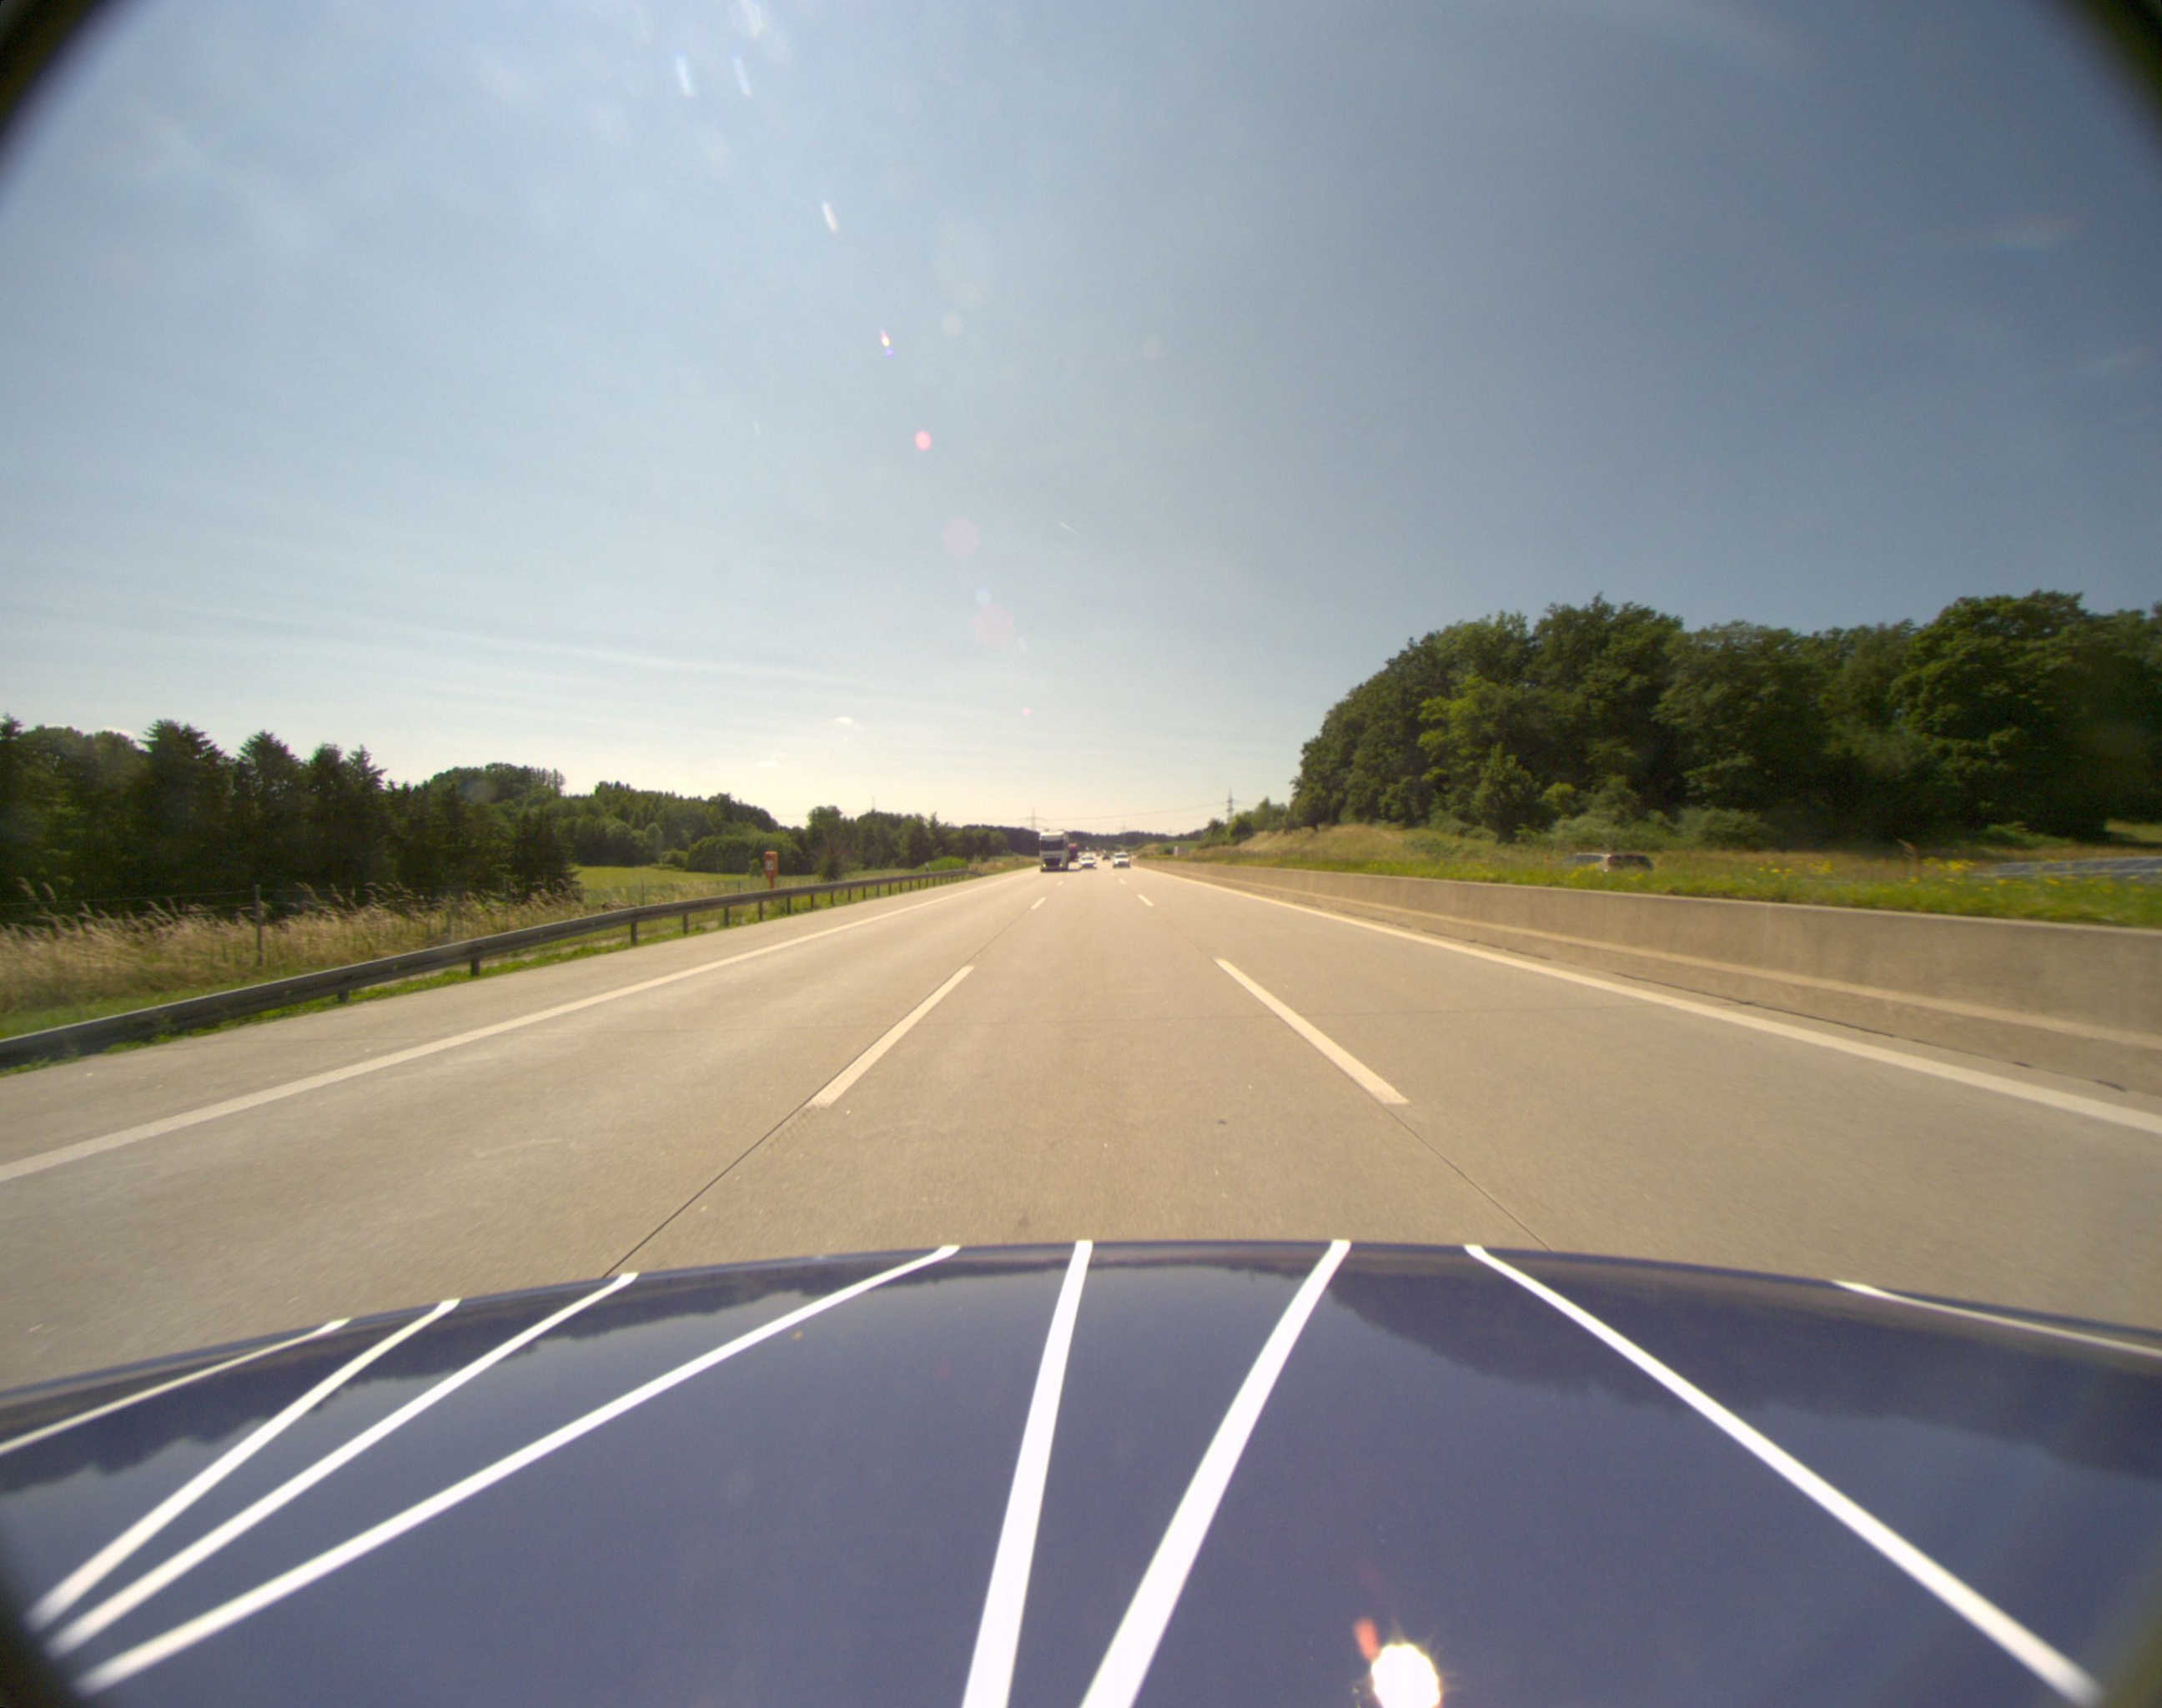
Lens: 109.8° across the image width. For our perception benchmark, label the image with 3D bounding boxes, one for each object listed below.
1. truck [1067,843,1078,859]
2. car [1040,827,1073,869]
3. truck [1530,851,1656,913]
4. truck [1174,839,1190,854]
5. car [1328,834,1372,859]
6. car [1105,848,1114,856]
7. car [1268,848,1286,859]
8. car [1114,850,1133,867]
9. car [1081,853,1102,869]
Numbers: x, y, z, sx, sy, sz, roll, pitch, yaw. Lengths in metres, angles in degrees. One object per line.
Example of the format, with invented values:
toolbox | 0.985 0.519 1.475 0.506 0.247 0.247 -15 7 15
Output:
truck | -1.788 -0.678 169.052 2.351 3.473 5.245 -1 0 0
car | -2.419 -0.603 78.756 2.766 4.029 10.852 -1 0 1
truck | 16.435 0.844 24.592 1.662 1.806 3.579 -2 0 1
truck | 23.921 -1.770 179.954 2.902 3.333 8.259 0 1 1
car | 20.945 -0.576 59.353 1.998 1.733 4.000 -3 0 1
car | 6.692 -0.498 180.379 1.998 1.835 6.529 -3 0 1
car | 27.007 -0.051 104.850 1.500 1.392 3.628 -5 0 0
car | 4.807 0.468 86.429 1.850 1.698 6.035 -2 1 1
car | 1.146 0.741 80.803 2.065 1.472 5.068 -5 0 1
